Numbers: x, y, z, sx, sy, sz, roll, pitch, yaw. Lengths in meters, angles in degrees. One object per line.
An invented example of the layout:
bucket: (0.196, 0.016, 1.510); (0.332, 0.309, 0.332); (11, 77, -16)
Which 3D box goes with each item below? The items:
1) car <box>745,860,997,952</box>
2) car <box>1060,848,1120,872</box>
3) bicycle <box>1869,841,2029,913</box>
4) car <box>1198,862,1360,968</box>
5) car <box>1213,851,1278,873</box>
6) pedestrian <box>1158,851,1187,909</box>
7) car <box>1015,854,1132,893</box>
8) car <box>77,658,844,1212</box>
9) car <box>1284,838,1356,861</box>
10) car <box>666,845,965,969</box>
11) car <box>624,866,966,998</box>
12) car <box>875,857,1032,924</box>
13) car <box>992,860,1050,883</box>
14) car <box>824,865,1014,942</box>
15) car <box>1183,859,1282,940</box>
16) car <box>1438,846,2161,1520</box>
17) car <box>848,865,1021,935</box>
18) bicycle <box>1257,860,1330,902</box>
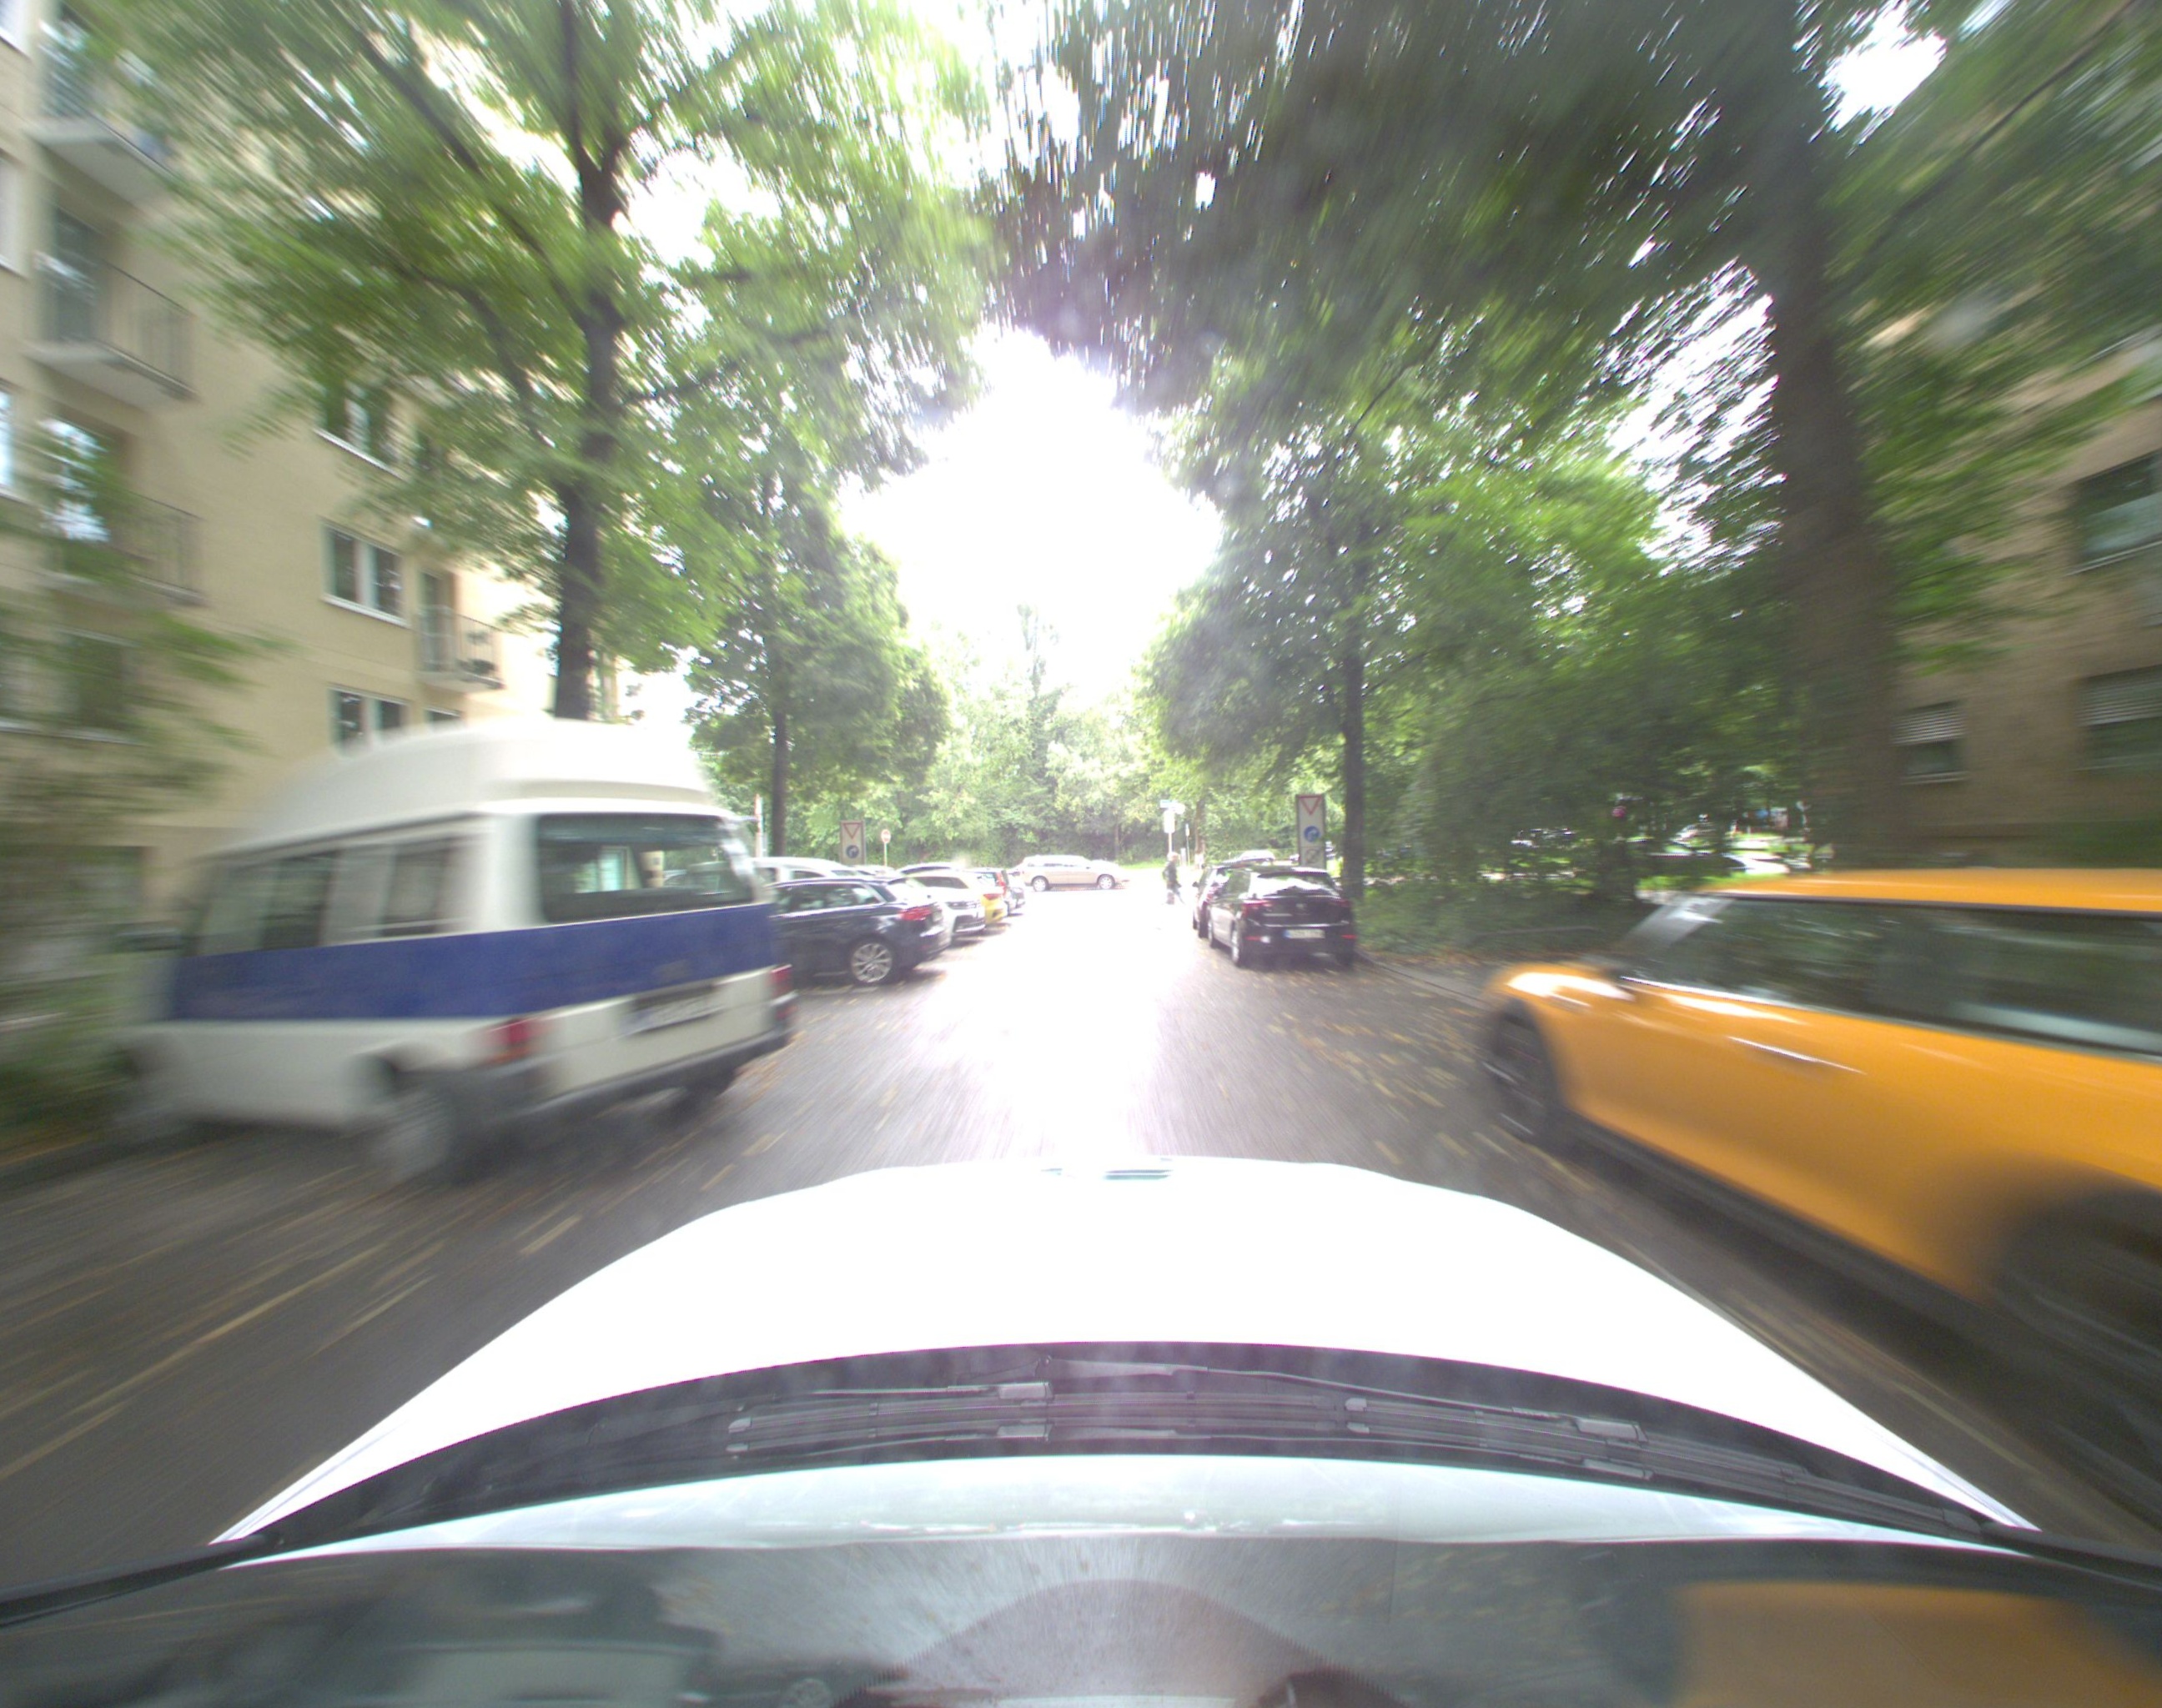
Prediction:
car: (-4.067, 1.000, 16.190); (4.425, 1.596, 1.839); (-2, 0, 6)
car: (0.665, 0.442, 62.347); (4.421, 1.579, 1.931); (-3, 0, -1)
bicycle: (13.709, 0.339, 12.951); (0.552, 1.044, 1.836); (-3, 0, 0)
car: (2.974, 0.851, 13.037); (1.675, 1.358, 4.010); (-1, 0, 1)
car: (12.795, 0.646, 63.550); (4.576, 1.472, 1.927); (-3, 0, -7)
pedestrian: (2.654, 0.747, 23.667); (0.775, 1.617, 0.762); (-2, 2, 4)
car: (-0.263, 0.828, 35.060); (4.776, 1.495, 1.846); (-2, 0, 7)
car: (-4.047, 0.457, 5.276); (4.527, 2.377, 1.916); (-4, -1, 24)
car: (18.741, -0.359, 63.958); (5.024, 1.565, 1.995); (-3, 0, -7)
car: (-4.320, 0.841, 13.694); (4.293, 1.731, 1.851); (-3, 0, 4)
car: (-3.747, 1.001, 11.168); (3.972, 1.433, 1.736); (-3, 0, 1)
car: (-3.607, 1.027, 23.525); (4.147, 1.601, 1.736); (-3, 1, 1)
car: (-4.550, 1.348, 62.374); (4.221, 1.494, 1.999); (-3, 0, -1)
car: (-3.564, 1.089, 18.445); (3.866, 1.441, 1.740); (-3, 0, 0)
car: (3.110, 0.872, 17.295); (1.640, 1.474, 3.648); (-2, 0, 4)
car: (3.085, 0.702, 3.204); (1.613, 1.412, 3.778); (-2, 0, -1)
car: (-3.636, 1.125, 20.708); (3.972, 1.464, 1.736); (-3, 0, 1)
bicycle: (5.368, 0.682, 20.614); (1.741, 0.982, 0.274); (-3, -1, 10)
